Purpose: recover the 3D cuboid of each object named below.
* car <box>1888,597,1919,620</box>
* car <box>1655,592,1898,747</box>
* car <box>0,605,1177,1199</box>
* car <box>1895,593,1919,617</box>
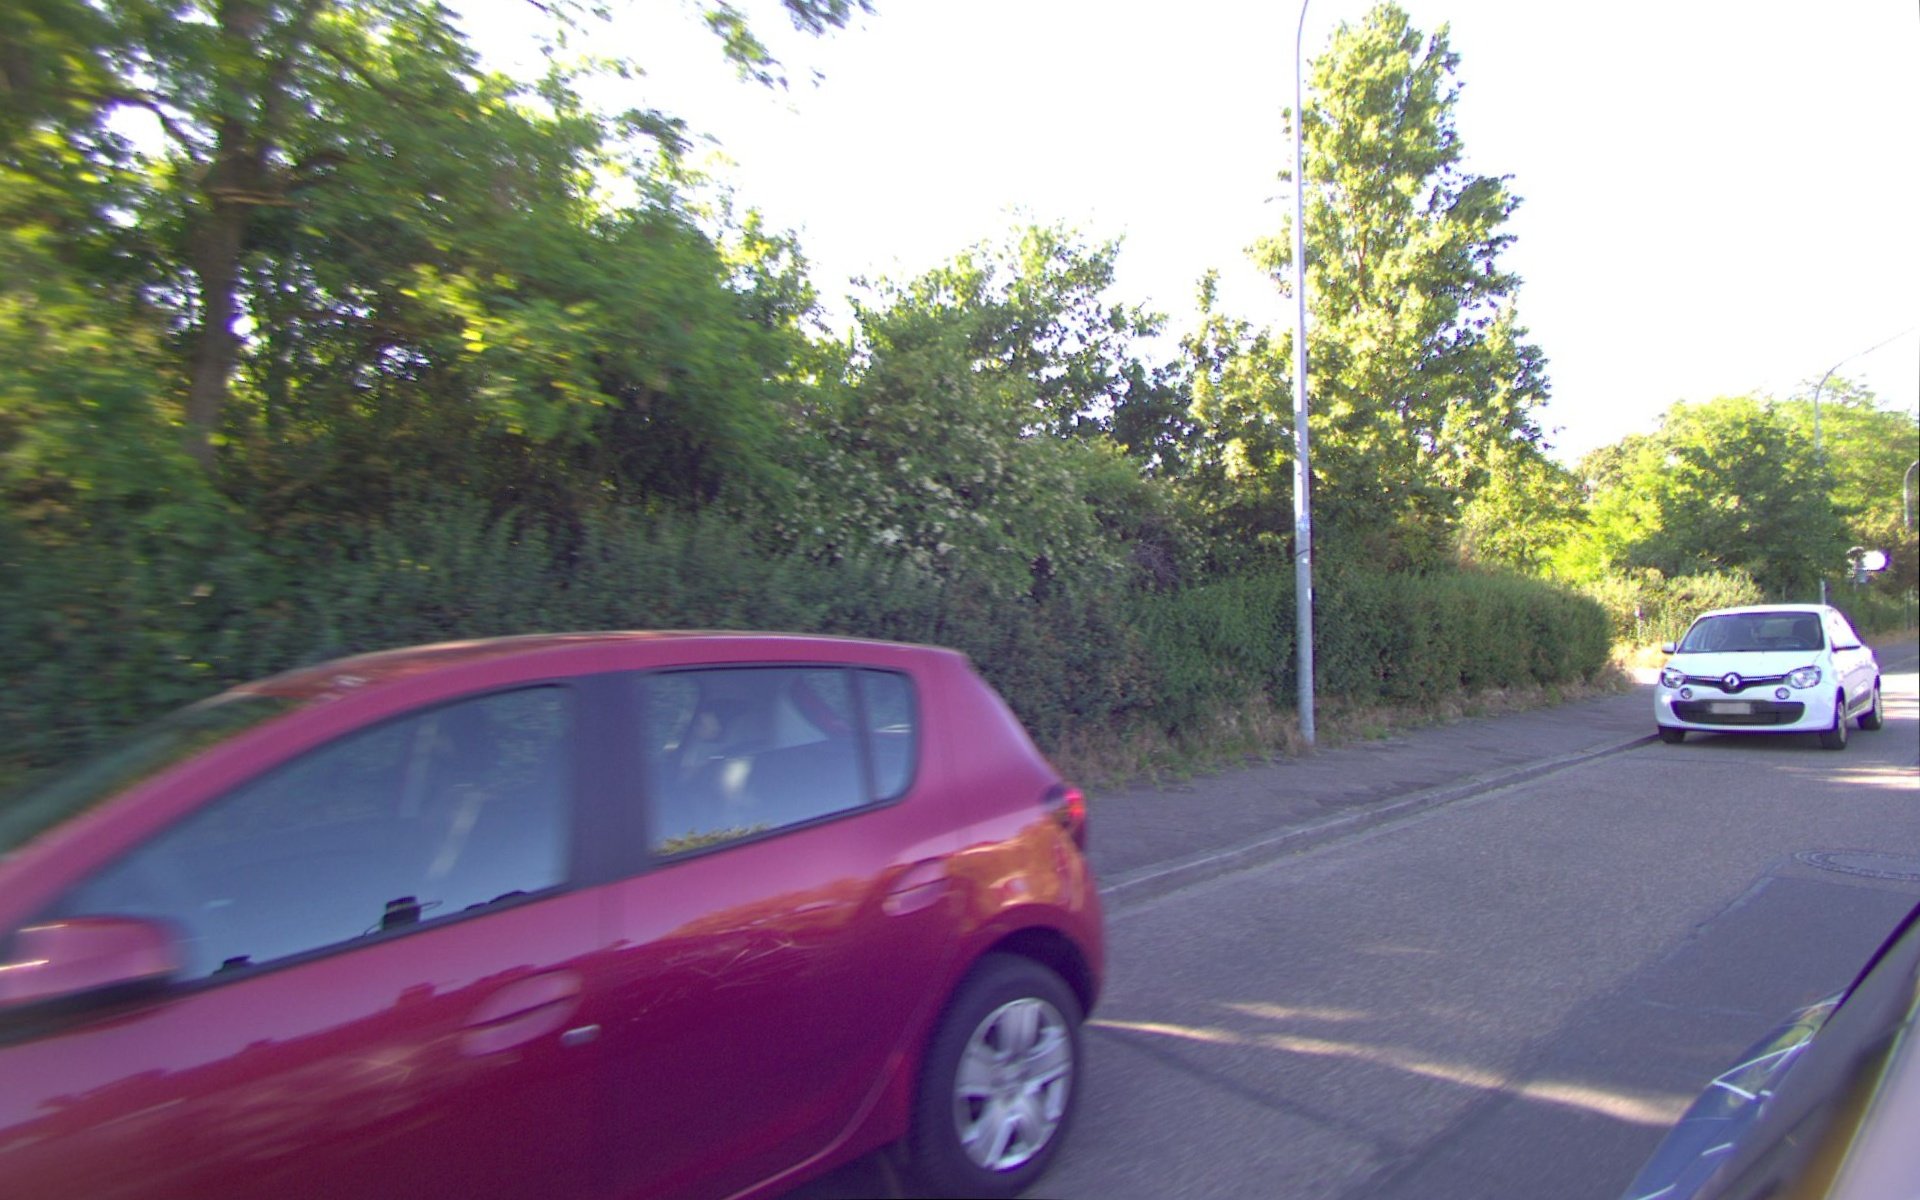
[{"bbox_3d":[72.165,0.650,75.585,1.745,1.717,4.152,1,0,-43],"label":"car"},{"bbox_3d":[9.699,0.730,11.947,3.493,1.558,1.558,0,-3,-41],"label":"car"},{"bbox_3d":[-1.318,0.815,2.463,3.772,1.506,1.657,0,-3,-41],"label":"car"},{"bbox_3d":[81.011,0.435,84.371,1.988,2.042,4.453,1,0,-45],"label":"car"}]
